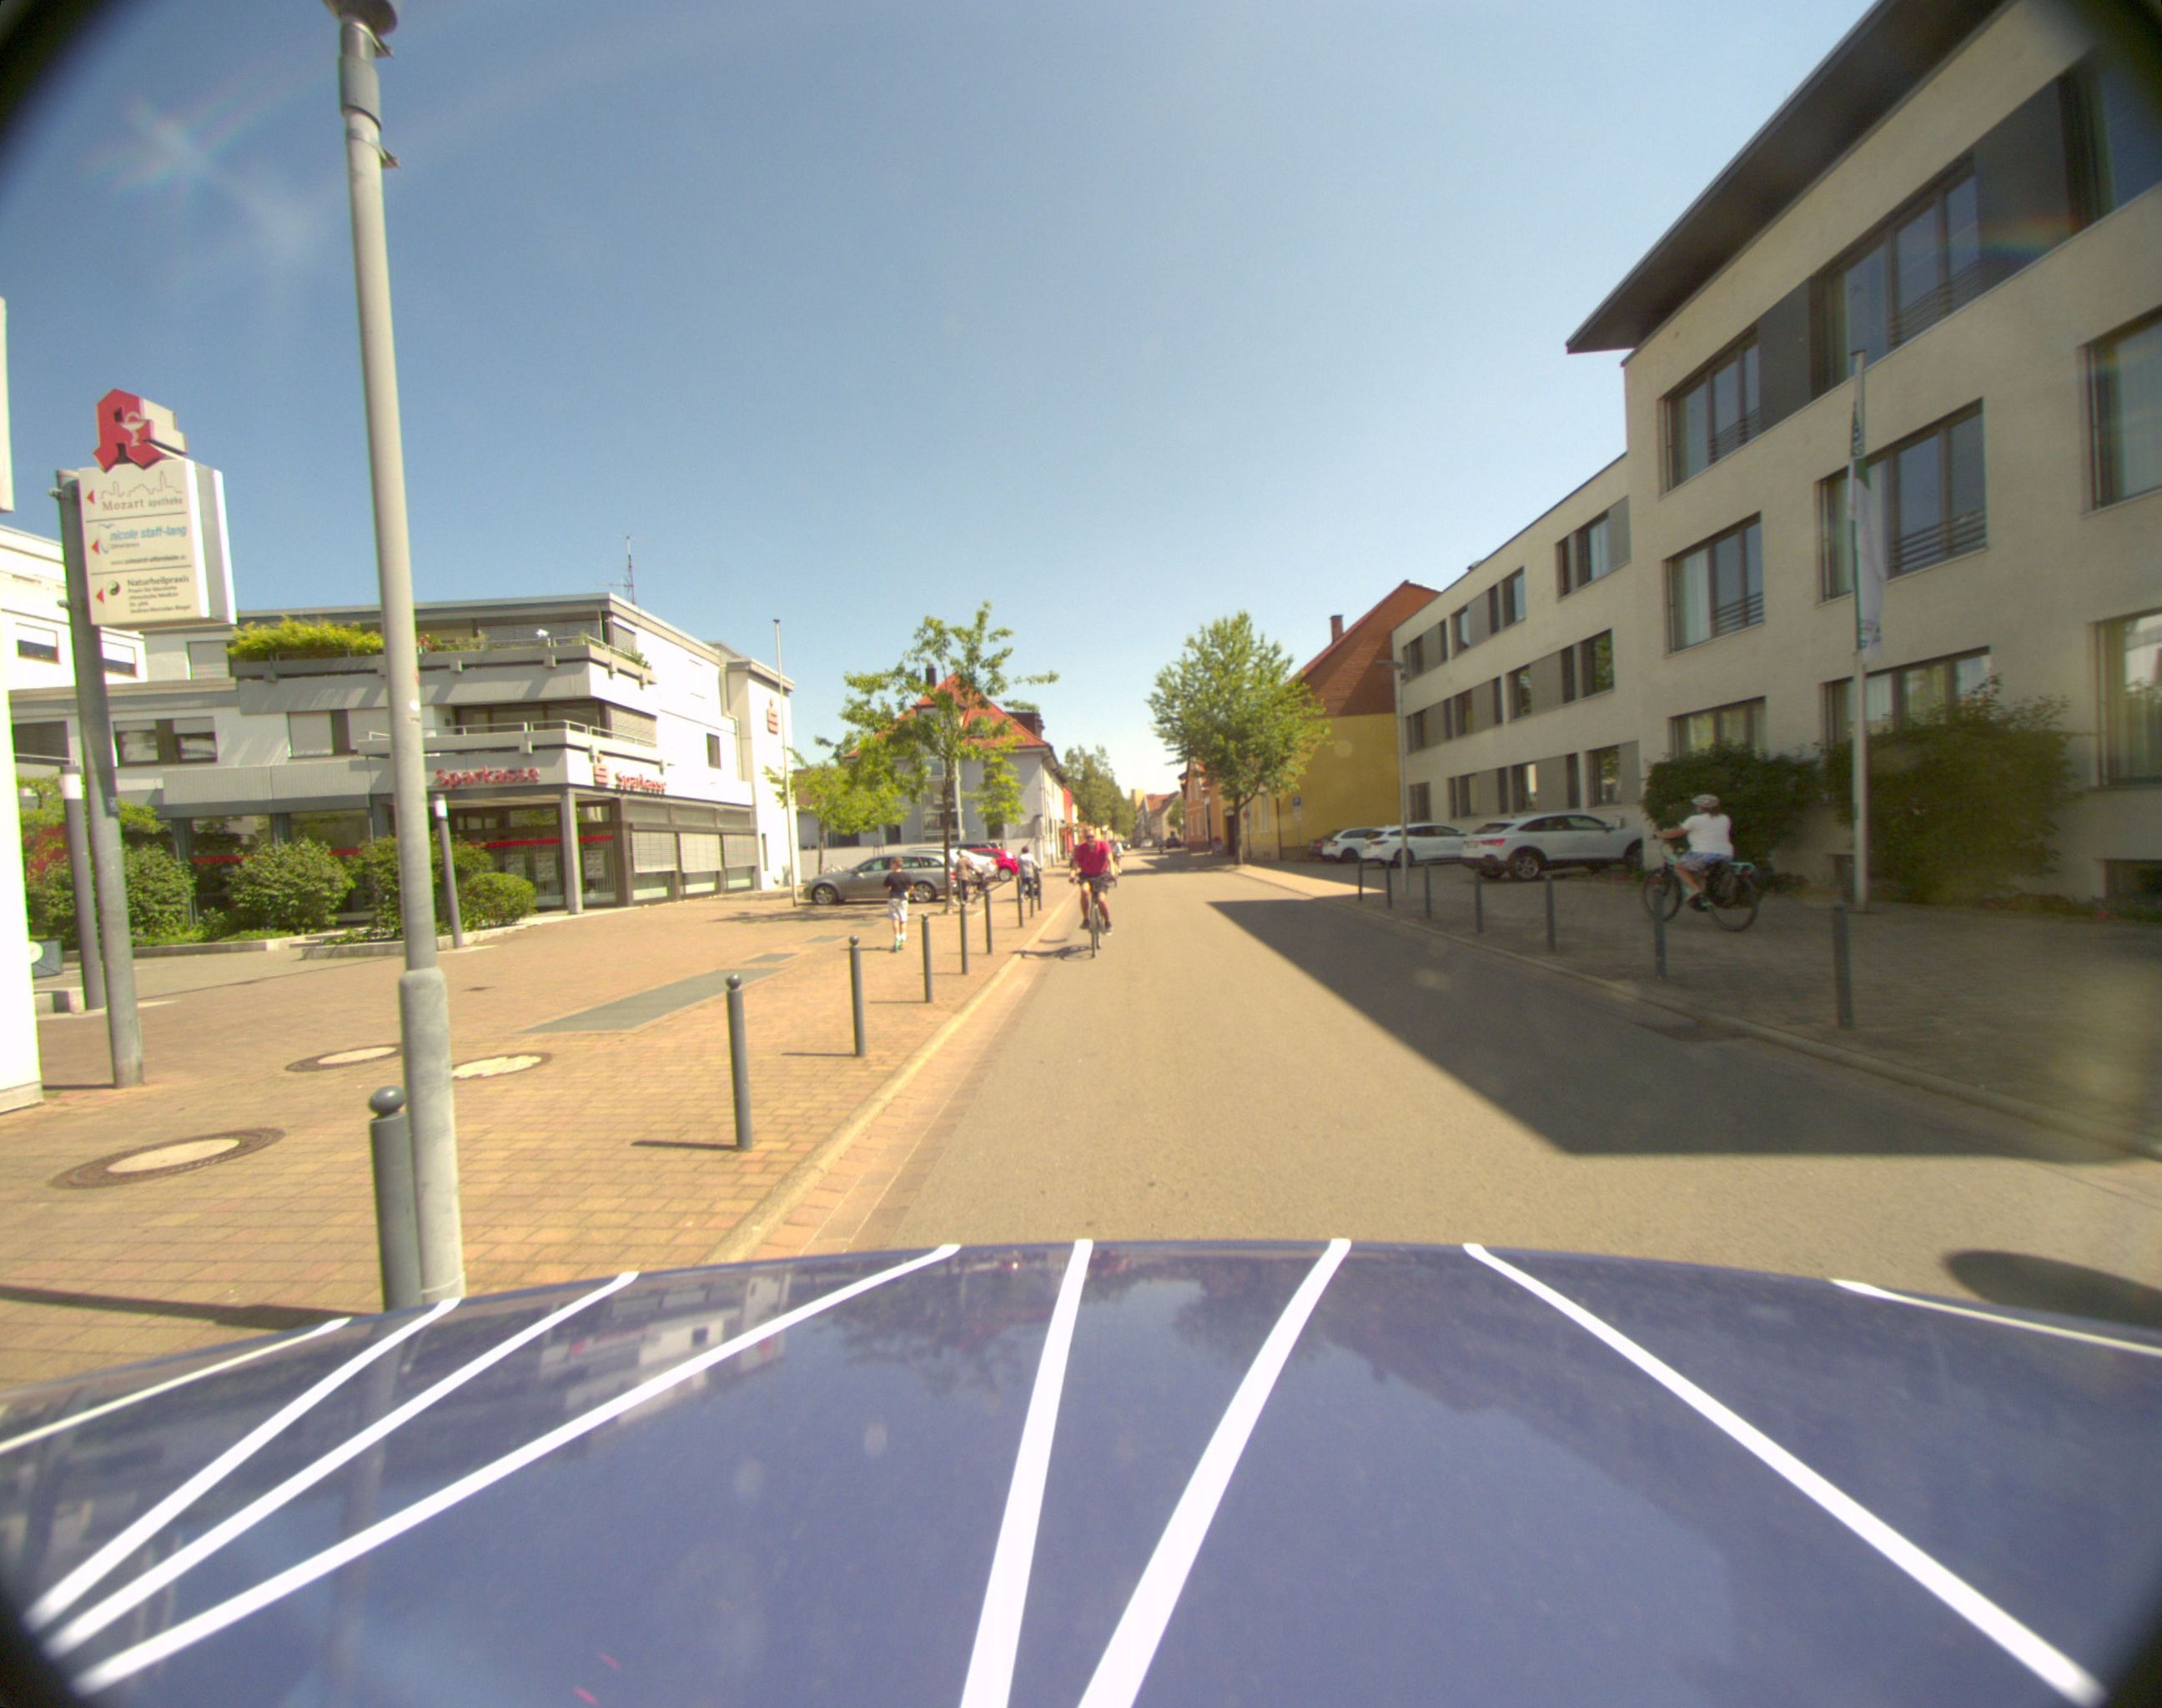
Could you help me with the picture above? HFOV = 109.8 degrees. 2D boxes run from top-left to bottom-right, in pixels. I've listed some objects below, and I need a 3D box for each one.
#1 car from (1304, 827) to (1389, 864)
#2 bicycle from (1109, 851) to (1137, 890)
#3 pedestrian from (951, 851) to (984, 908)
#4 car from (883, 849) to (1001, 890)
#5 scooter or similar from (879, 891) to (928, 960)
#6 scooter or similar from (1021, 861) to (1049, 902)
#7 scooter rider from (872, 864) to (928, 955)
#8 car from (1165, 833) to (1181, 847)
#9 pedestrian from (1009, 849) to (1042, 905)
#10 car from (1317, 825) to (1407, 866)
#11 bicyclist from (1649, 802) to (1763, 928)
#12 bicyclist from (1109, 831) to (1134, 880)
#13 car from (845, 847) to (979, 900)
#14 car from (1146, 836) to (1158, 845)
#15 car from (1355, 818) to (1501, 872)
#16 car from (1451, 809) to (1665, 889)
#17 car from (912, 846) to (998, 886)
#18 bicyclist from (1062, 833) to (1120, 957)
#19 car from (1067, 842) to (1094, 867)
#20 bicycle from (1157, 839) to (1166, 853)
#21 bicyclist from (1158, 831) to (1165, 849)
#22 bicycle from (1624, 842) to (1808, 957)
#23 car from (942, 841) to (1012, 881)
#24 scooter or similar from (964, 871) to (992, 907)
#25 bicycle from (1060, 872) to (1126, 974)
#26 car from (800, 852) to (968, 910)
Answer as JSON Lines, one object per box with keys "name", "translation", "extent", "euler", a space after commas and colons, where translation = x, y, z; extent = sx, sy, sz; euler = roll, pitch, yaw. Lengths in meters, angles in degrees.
{"name": "car", "translation": [11.869, -0.396, 34.021], "extent": [3.257, 1.393, 1.374], "euler": [-4, 1, 2]}
{"name": "bicycle", "translation": [1.411, 0.549, 25.825], "extent": [0.689, 1.183, 1.799], "euler": [-7, 2, 0]}
{"name": "pedestrian", "translation": [-3.054, 0.671, 20.537], "extent": [0.530, 1.492, 0.725], "euler": [-2, 2, 19]}
{"name": "car", "translation": [-5.494, 0.591, 30.419], "extent": [4.445, 1.434, 1.655], "euler": [-2, 1, -4]}
{"name": "scooter or similar", "translation": [-2.781, 1.107, 11.966], "extent": [0.411, 0.960, 0.960], "euler": [-2, 1, 6]}
{"name": "scooter or similar", "translation": [-1.310, 0.791, 21.816], "extent": [0.505, 1.112, 0.910], "euler": [-1, 1, 16]}
{"name": "scooter rider", "translation": [-2.836, 0.839, 11.971], "extent": [0.462, 1.317, 1.133], "euler": [-2, 1, 5]}
{"name": "car", "translation": [12.578, -1.893, 104.394], "extent": [1.825, 1.805, 4.000], "euler": [-2, 1, 2]}
{"name": "pedestrian", "translation": [-1.528, 0.616, 21.089], "extent": [0.512, 1.507, 1.049], "euler": [-1, 1, 18]}
{"name": "car", "translation": [11.704, -0.362, 31.816], "extent": [3.138, 1.442, 1.643], "euler": [-4, 1, 4]}
{"name": "bicyclist", "translation": [7.898, 0.131, 9.642], "extent": [0.716, 1.498, 0.871], "euler": [-2, 2, 1]}
{"name": "bicyclist", "translation": [1.364, 0.042, 25.825], "extent": [0.703, 1.573, 0.878], "euler": [-4, 2, 1]}
{"name": "car", "translation": [-5.499, 0.615, 25.127], "extent": [4.045, 1.551, 1.712], "euler": [-2, 1, -3]}
{"name": "car", "translation": [13.950, -2.598, 149.284], "extent": [1.998, 1.696, 4.000], "euler": [-2, 1, 2]}
{"name": "car", "translation": [12.072, -0.322, 26.594], "extent": [4.323, 1.470, 1.513], "euler": [-4, 2, 4]}
{"name": "car", "translation": [11.390, -0.126, 18.355], "extent": [3.996, 1.539, 1.749], "euler": [-4, 1, 2]}
{"name": "car", "translation": [-5.398, 0.483, 32.952], "extent": [3.430, 1.543, 1.490], "euler": [-3, 1, -1]}
{"name": "bicyclist", "translation": [0.146, 0.569, 11.032], "extent": [0.703, 1.707, 0.759], "euler": [-4, 2, 1]}
{"name": "car", "translation": [-0.070, -0.015, 47.585], "extent": [1.530, 1.444, 3.520], "euler": [-3, 1, -2]}
{"name": "bicycle", "translation": [7.325, -0.736, 69.175], "extent": [0.594, 1.183, 1.725], "euler": [-3, 2, 2]}
{"name": "bicyclist", "translation": [7.320, -1.260, 69.172], "extent": [0.538, 1.630, 0.551], "euler": [-2, 2, 2]}
{"name": "bicycle", "translation": [7.949, 0.505, 9.655], "extent": [0.710, 1.245, 1.972], "euler": [-5, 1, 4]}
{"name": "car", "translation": [-4.761, 0.323, 35.059], "extent": [3.040, 1.727, 1.344], "euler": [-2, 1, -2]}
{"name": "scooter or similar", "translation": [-2.855, 0.967, 21.114], "extent": [0.535, 0.940, 0.547], "euler": [-2, 2, 19]}
{"name": "bicycle", "translation": [0.159, 0.942, 11.028], "extent": [0.738, 1.183, 1.970], "euler": [-7, 2, 0]}
{"name": "car", "translation": [-5.657, 0.753, 22.266], "extent": [4.444, 1.457, 1.689], "euler": [-2, 2, -2]}
